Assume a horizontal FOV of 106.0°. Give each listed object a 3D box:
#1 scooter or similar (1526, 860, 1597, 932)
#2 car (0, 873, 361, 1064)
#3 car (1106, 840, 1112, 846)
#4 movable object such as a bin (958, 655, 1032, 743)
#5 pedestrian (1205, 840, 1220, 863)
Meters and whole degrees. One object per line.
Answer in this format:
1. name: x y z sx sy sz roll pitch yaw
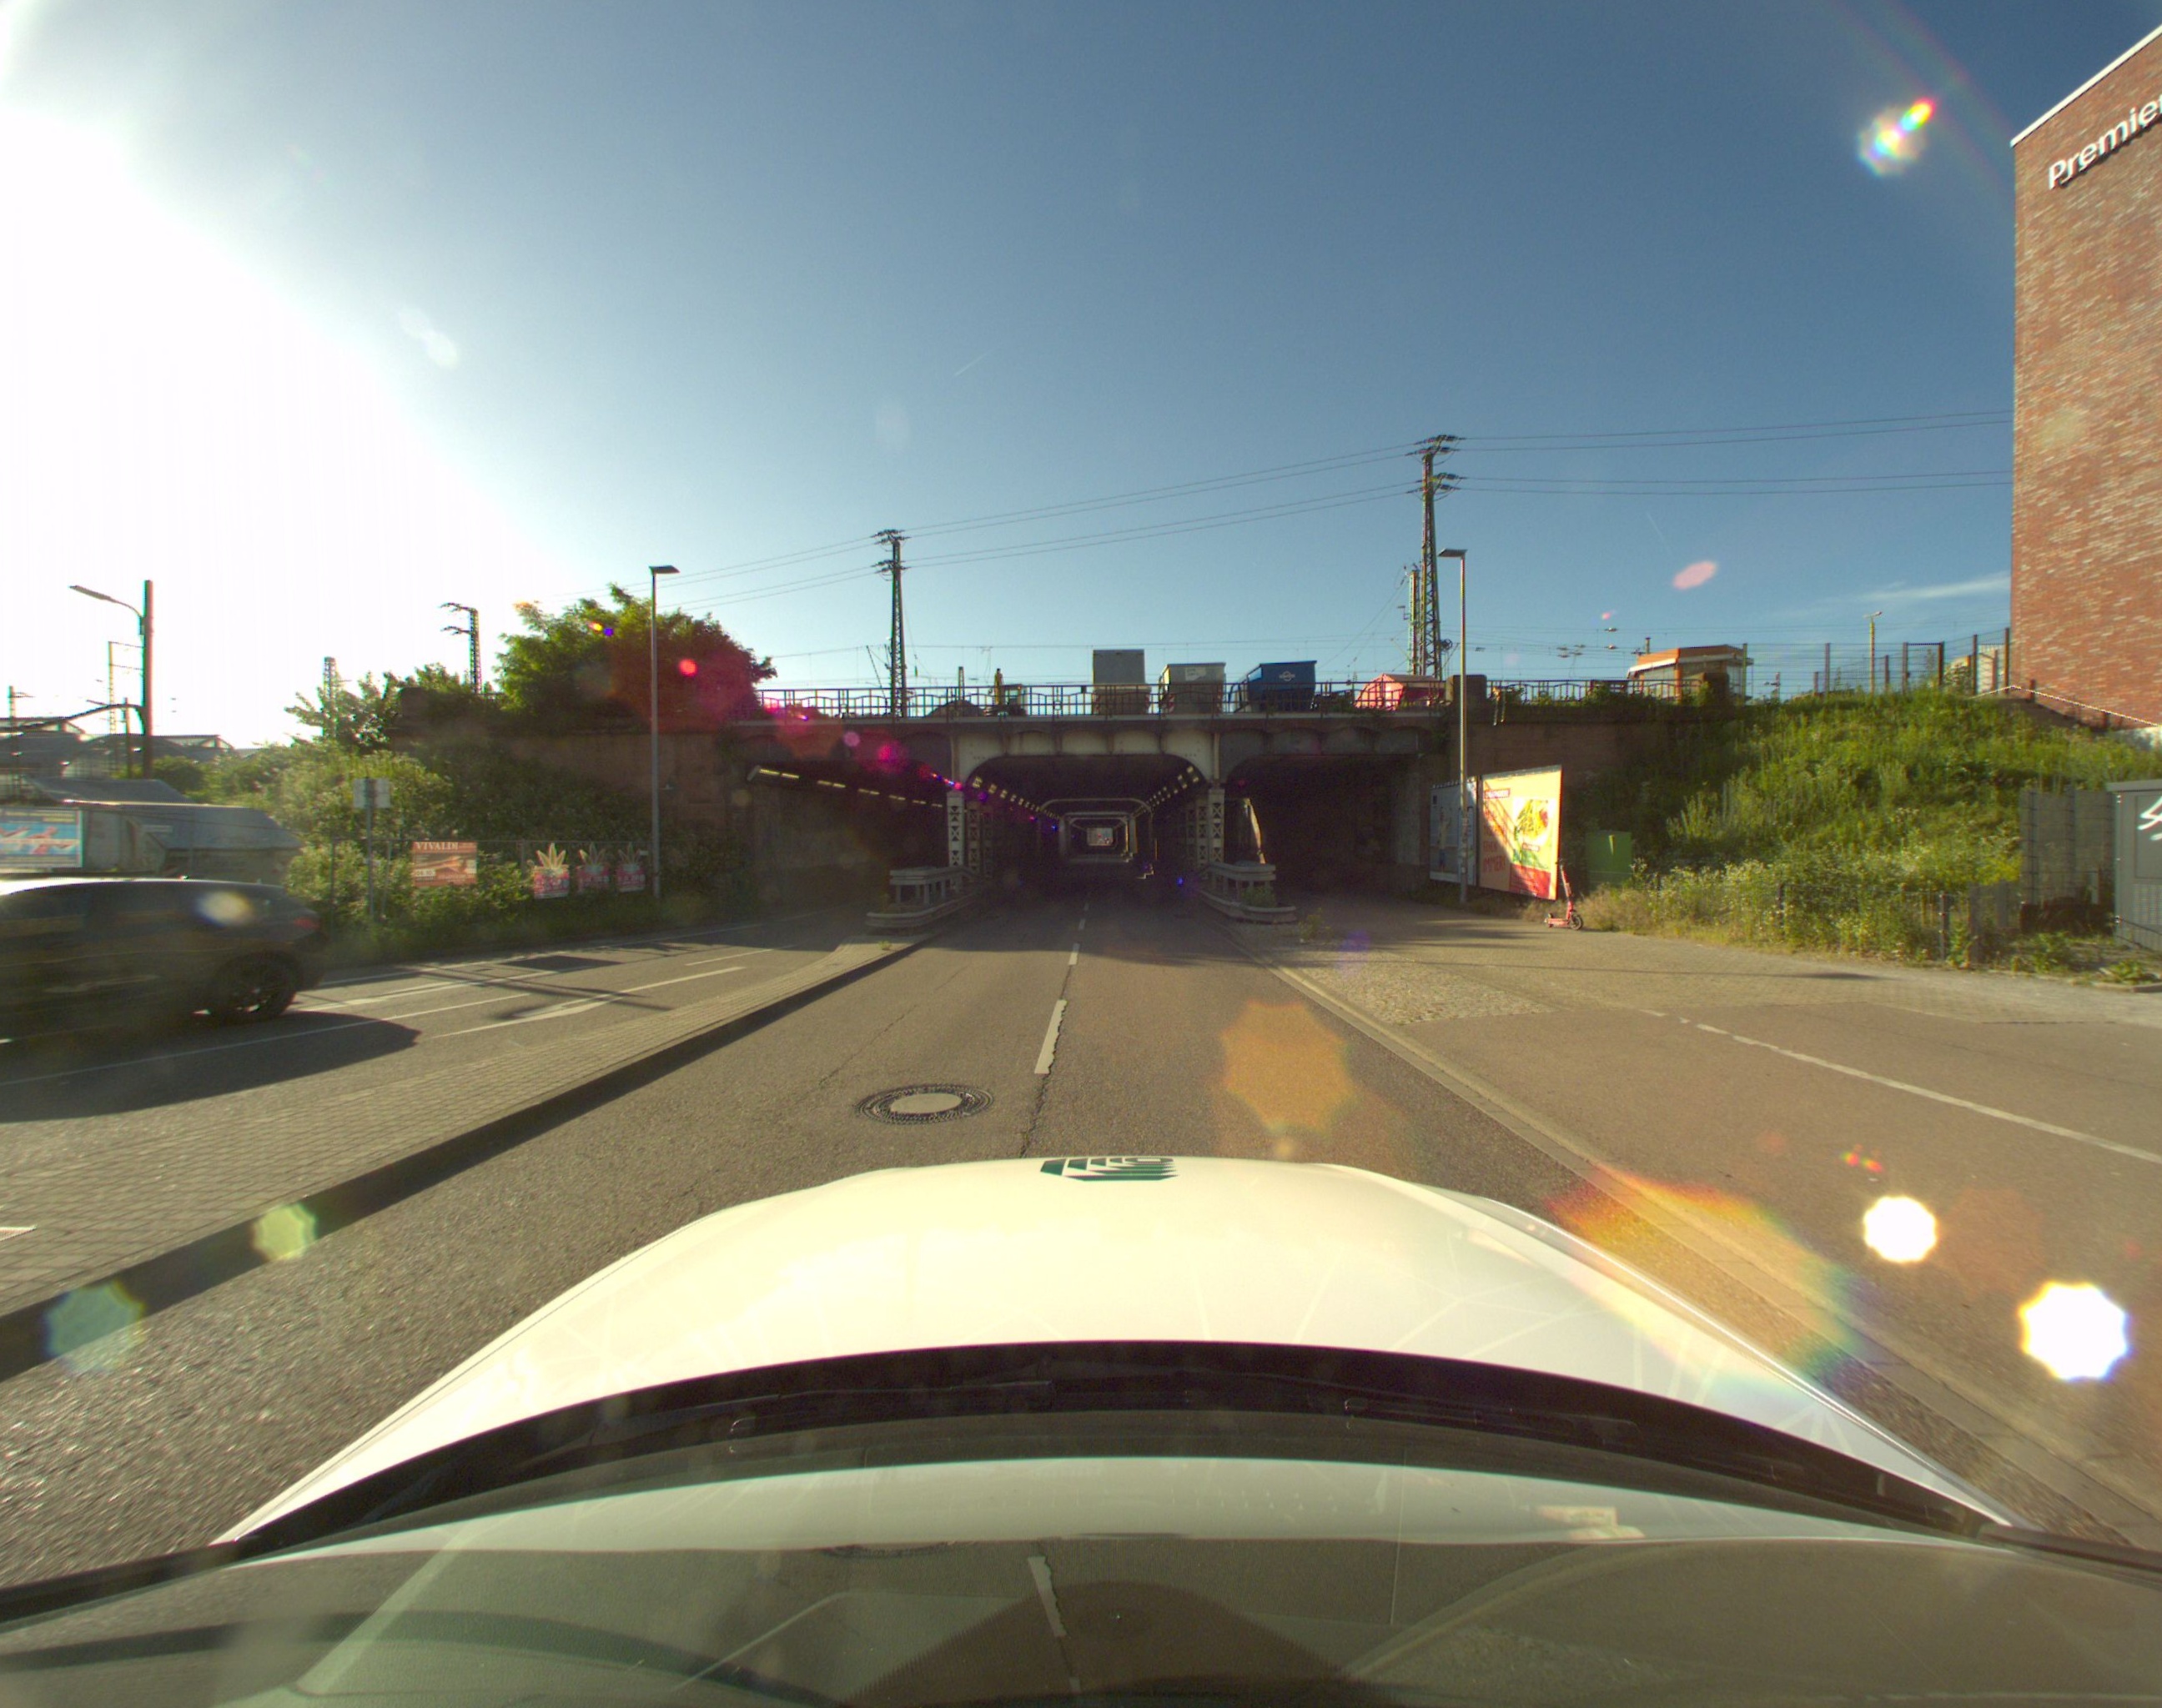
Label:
1. scooter or similar: 8.479 0.715 14.428 0.535 1.197 1.291 0 0 2
2. car: -9.731 0.980 7.398 1.935 1.518 4.405 -1 0 16
3. car: 8.536 -3.412 247.807 1.986 1.784 4.001 -1 1 1
4. movable object such as a bin: -2.994 -5.466 29.443 1.986 2.226 4.833 0 0 2
5. pedestrian: 9.793 -0.197 60.733 0.914 1.656 0.886 -3 1 -2
